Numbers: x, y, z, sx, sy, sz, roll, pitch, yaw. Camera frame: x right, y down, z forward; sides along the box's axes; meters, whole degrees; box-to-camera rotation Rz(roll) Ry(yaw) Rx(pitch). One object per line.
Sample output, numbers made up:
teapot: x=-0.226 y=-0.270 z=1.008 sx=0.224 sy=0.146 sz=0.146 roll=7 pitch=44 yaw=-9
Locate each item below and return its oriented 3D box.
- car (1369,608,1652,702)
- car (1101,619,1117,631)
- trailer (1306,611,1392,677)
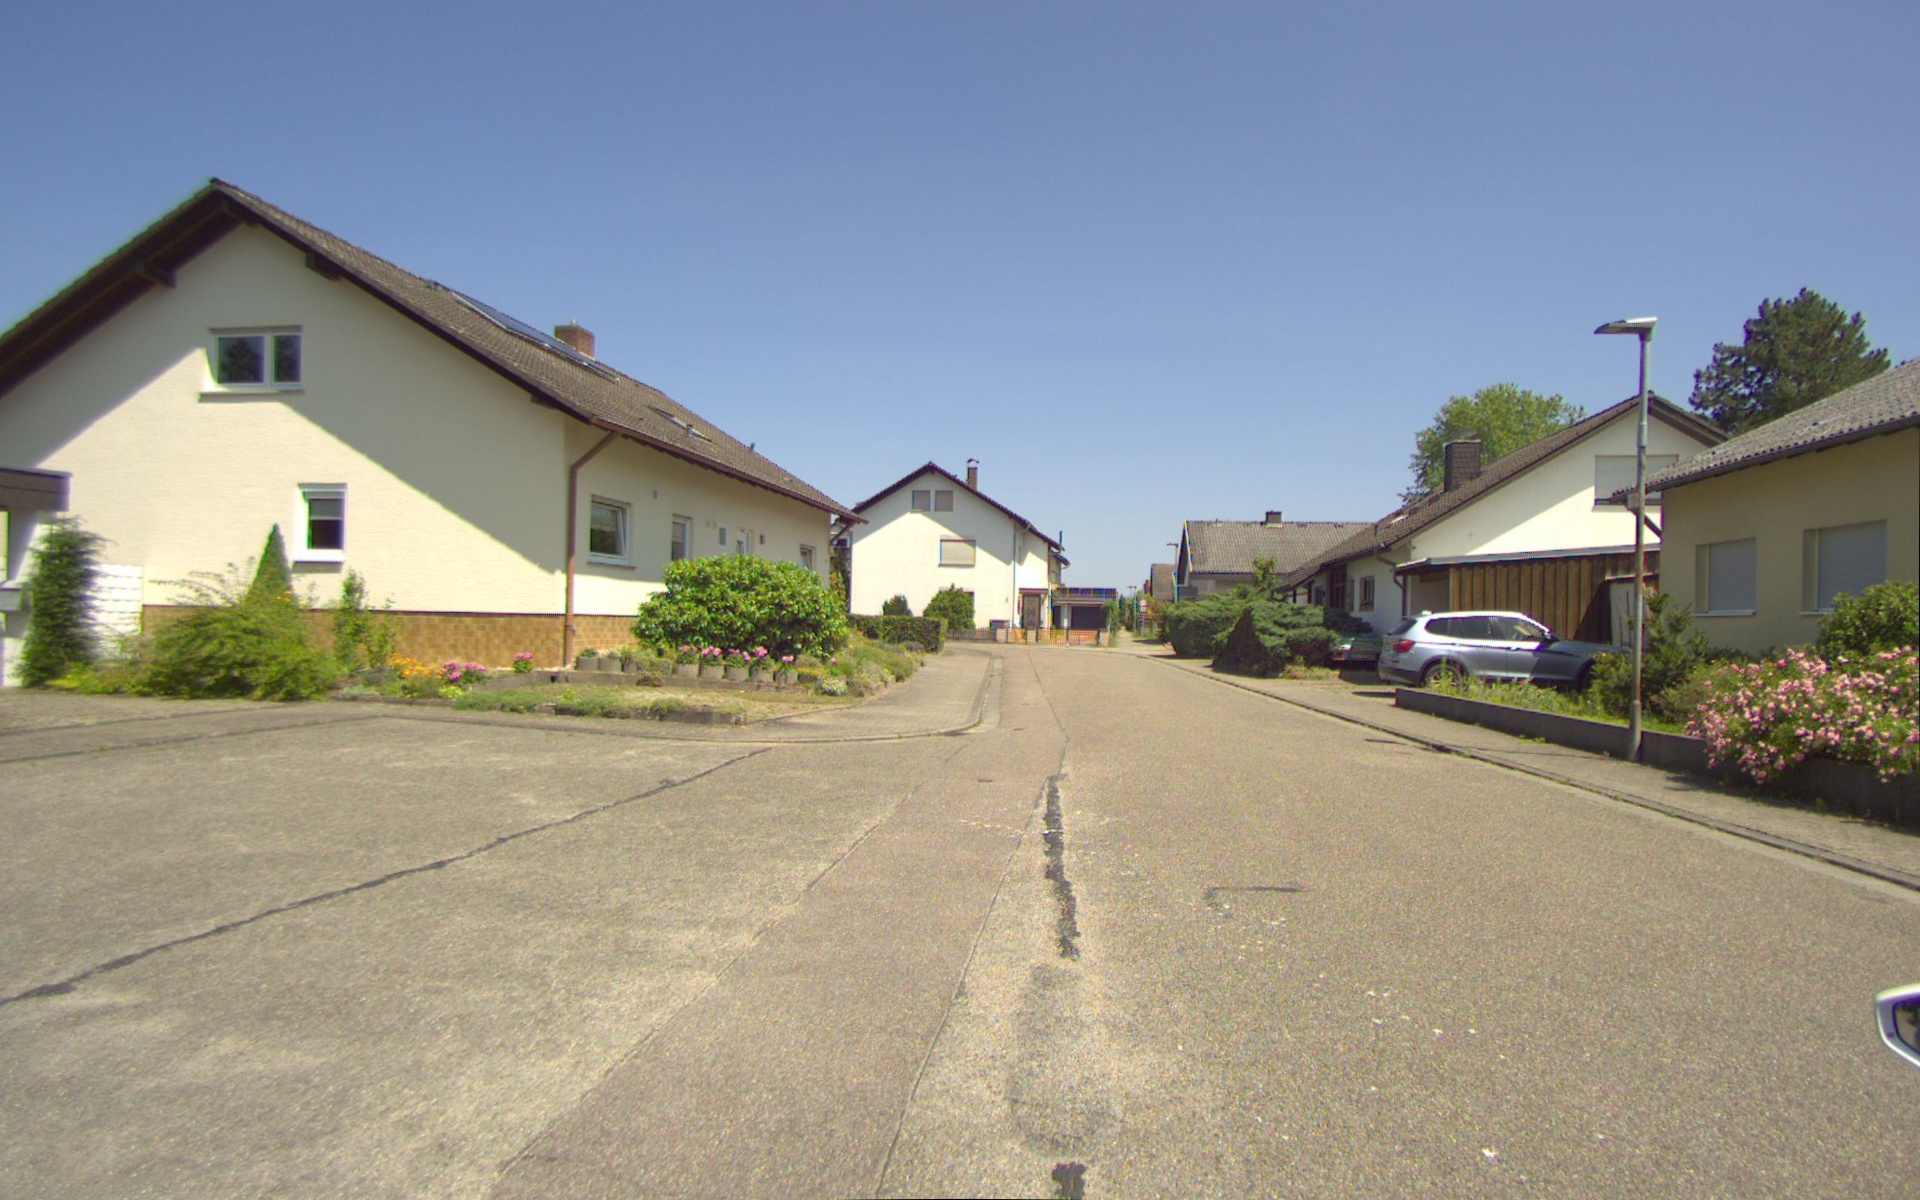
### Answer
car: x=10.620 y=1.043 z=19.727 sx=4.548 sy=1.724 sz=1.711 roll=0 pitch=-1 yaw=12
car: x=21.607 y=3.651 z=145.627 sx=2.156 sy=1.724 sz=3.810 roll=1 pitch=-1 yaw=10
trailer: x=10.567 y=1.153 z=27.456 sx=1.560 sy=1.694 sz=3.298 roll=0 pitch=-1 yaw=10
